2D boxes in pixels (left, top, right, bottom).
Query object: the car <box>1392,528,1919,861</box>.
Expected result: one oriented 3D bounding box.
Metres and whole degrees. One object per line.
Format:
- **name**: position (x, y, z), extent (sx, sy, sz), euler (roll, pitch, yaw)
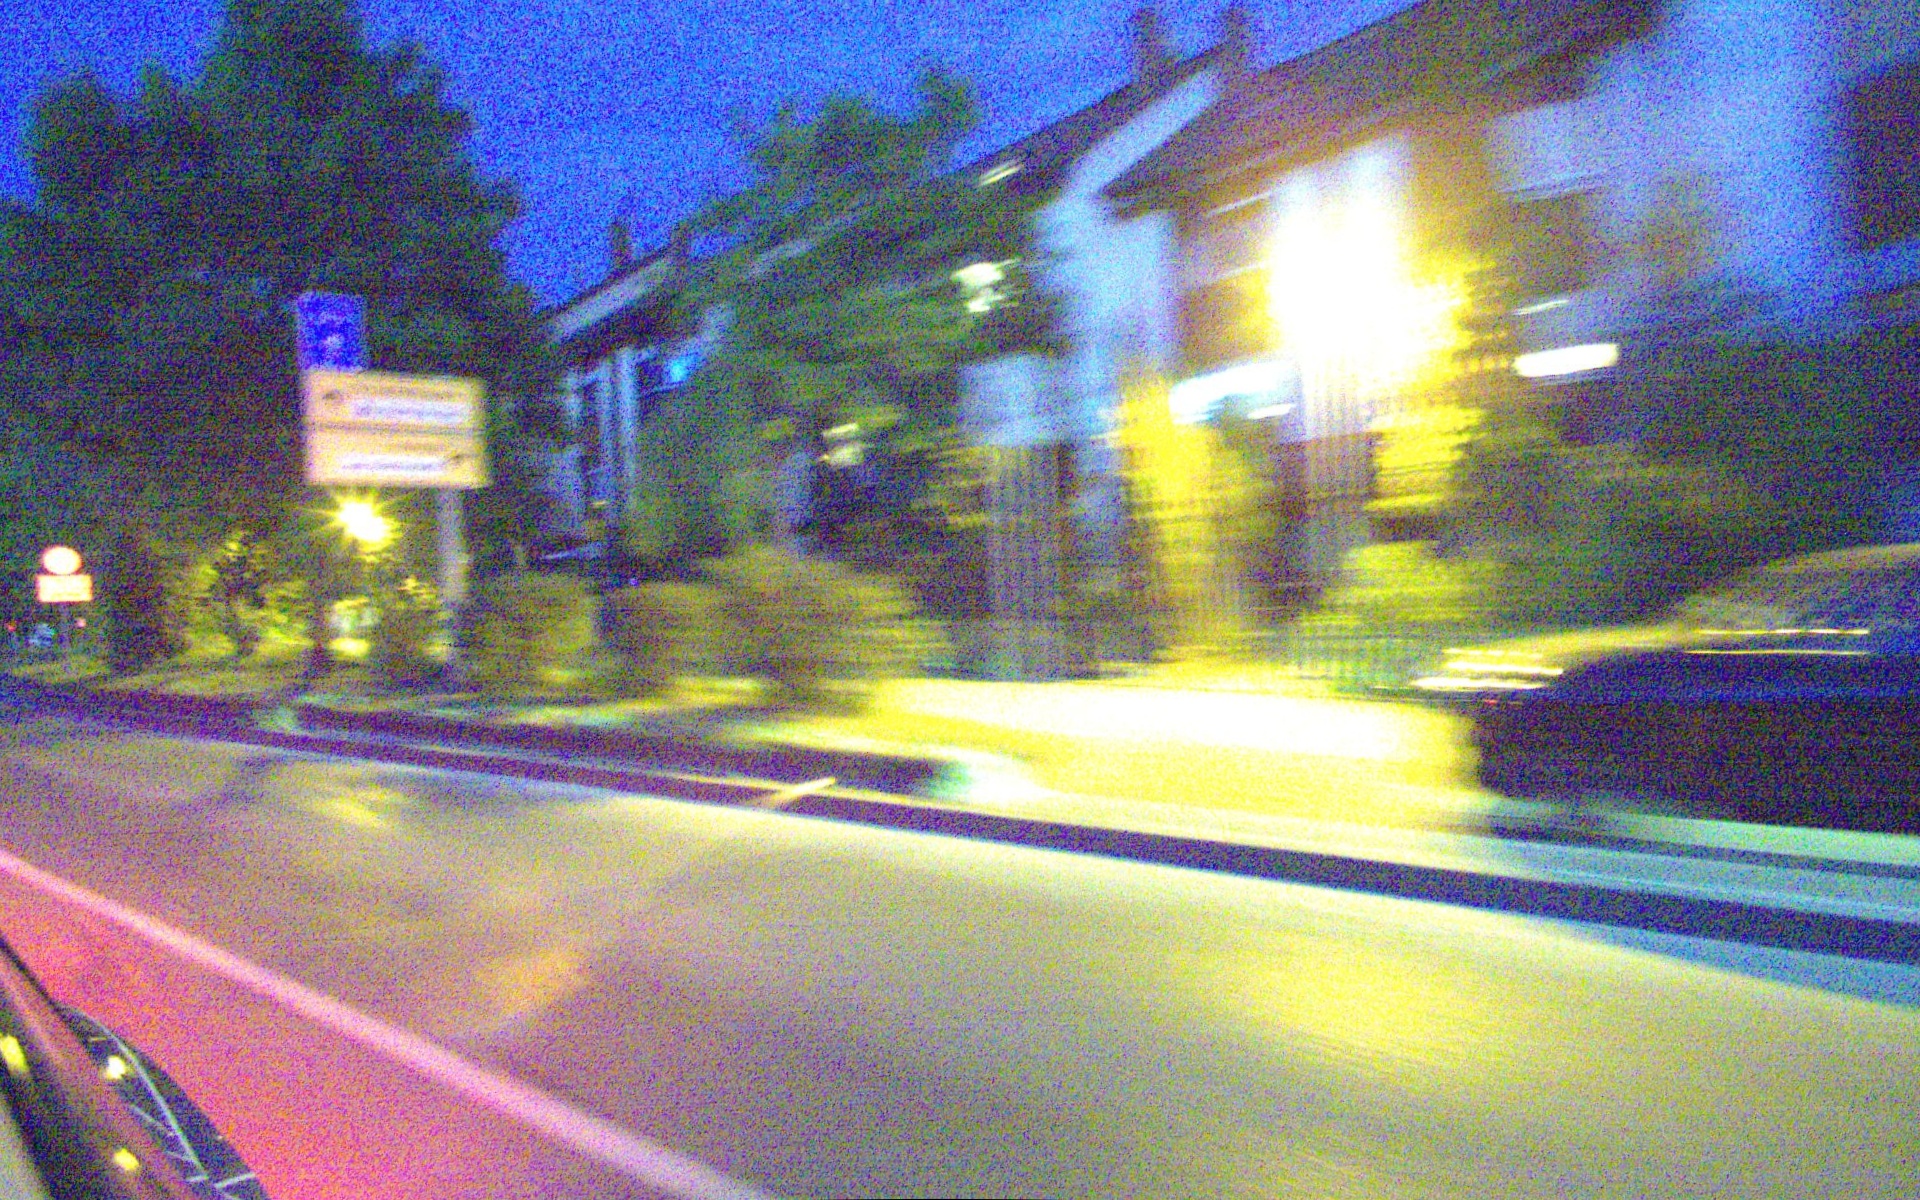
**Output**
- **car**: position (4.763, 0.361, 4.880), extent (4.589, 1.390, 1.976), euler (-2, 1, 36)
